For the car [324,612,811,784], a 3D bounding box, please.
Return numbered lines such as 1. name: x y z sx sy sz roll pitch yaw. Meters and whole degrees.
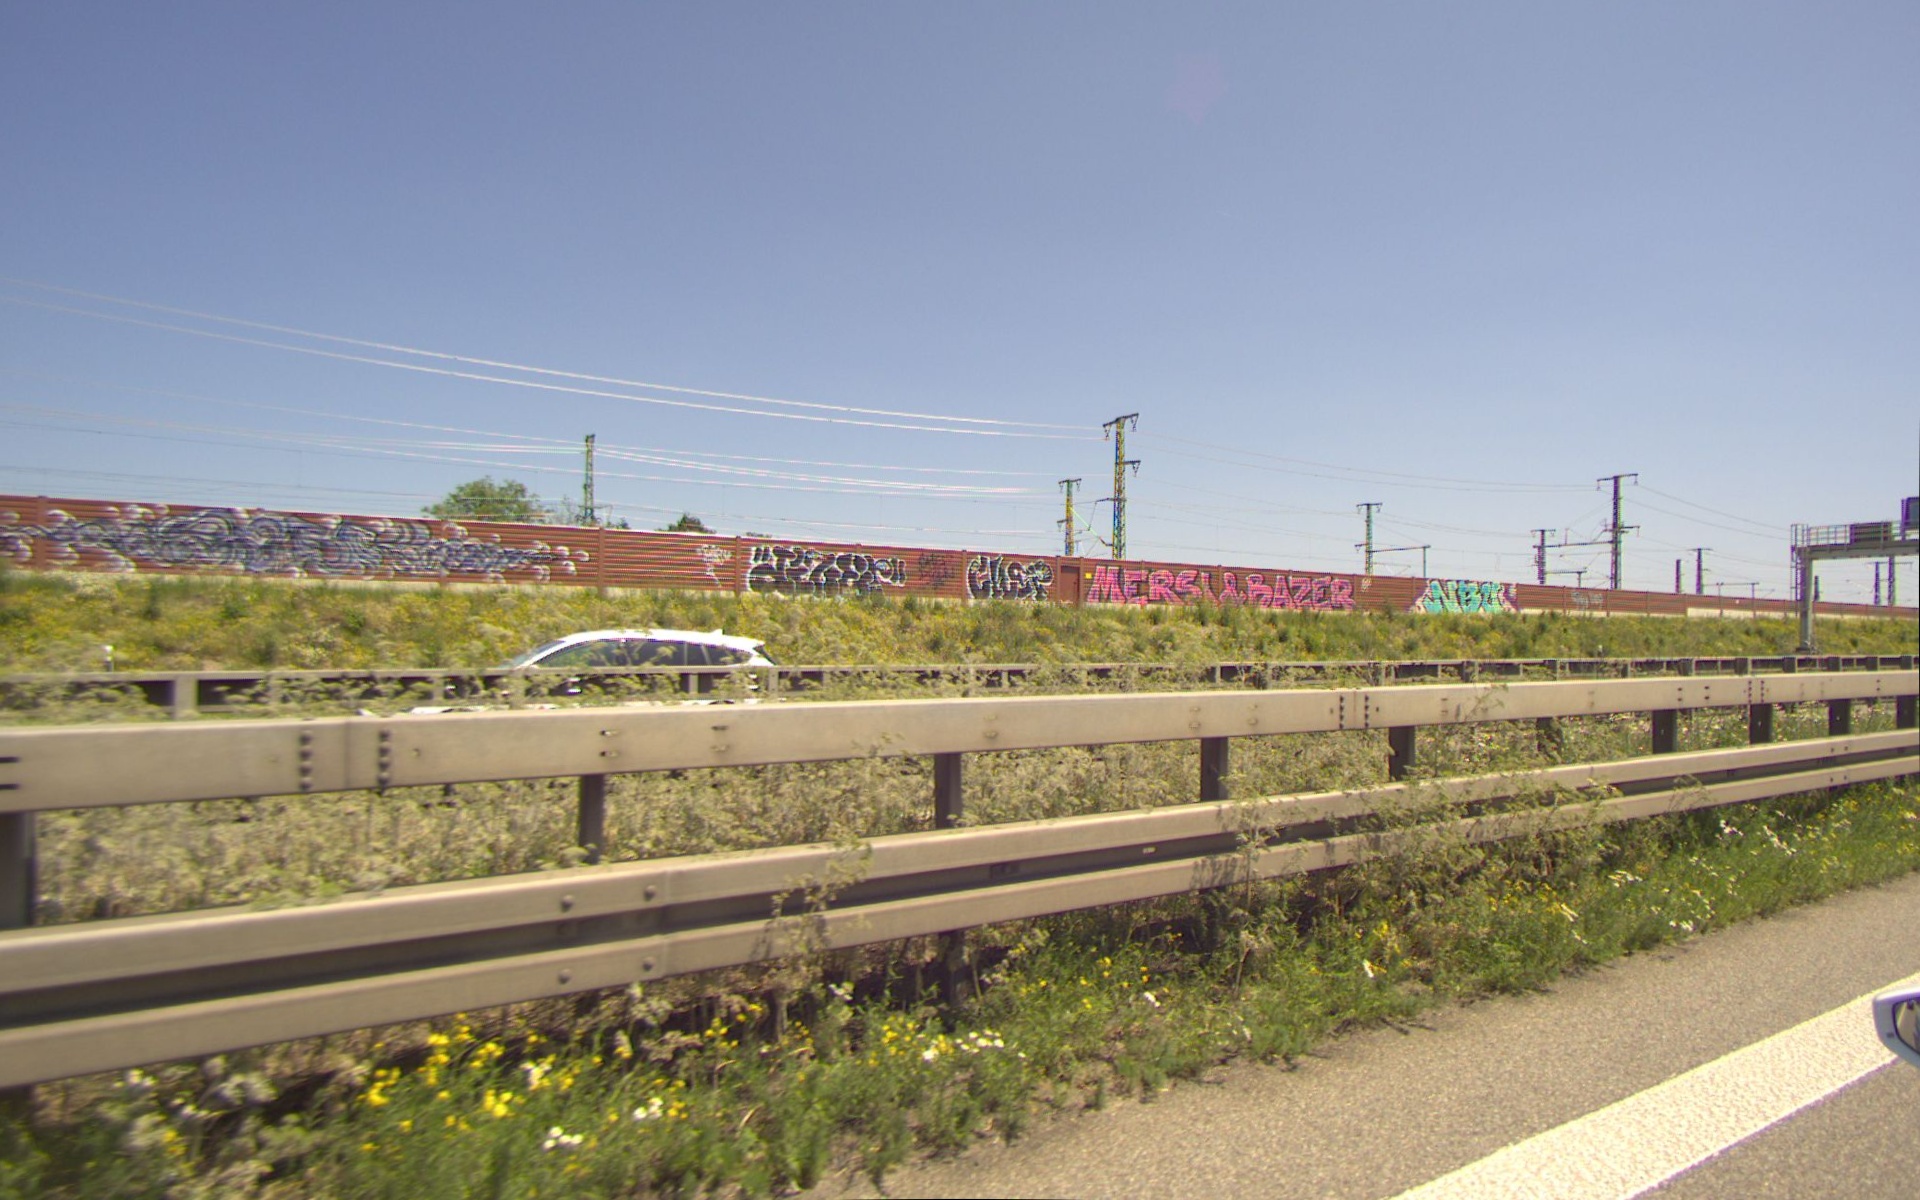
1. car: -4.258 0.968 11.303 4.752 1.565 1.904 1 -1 -30
